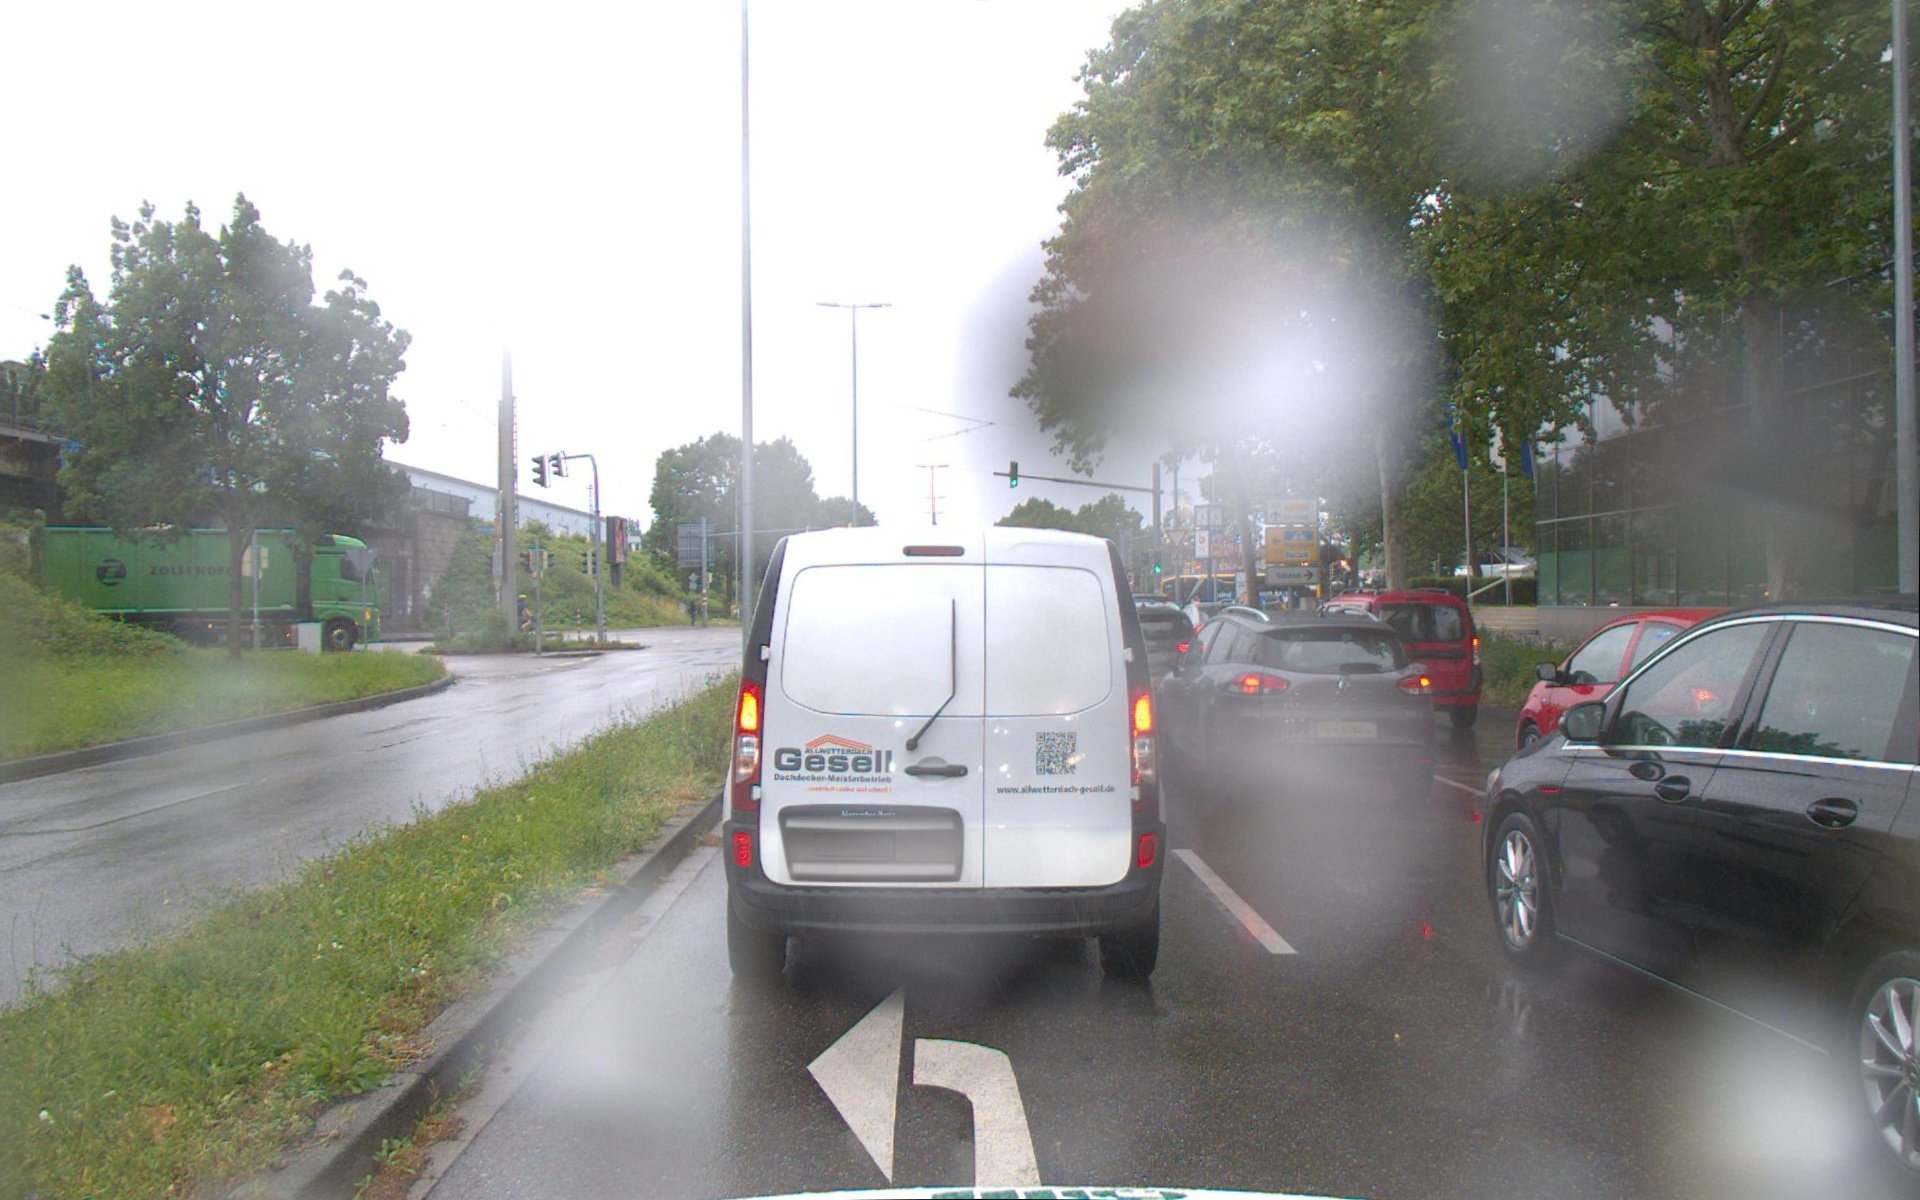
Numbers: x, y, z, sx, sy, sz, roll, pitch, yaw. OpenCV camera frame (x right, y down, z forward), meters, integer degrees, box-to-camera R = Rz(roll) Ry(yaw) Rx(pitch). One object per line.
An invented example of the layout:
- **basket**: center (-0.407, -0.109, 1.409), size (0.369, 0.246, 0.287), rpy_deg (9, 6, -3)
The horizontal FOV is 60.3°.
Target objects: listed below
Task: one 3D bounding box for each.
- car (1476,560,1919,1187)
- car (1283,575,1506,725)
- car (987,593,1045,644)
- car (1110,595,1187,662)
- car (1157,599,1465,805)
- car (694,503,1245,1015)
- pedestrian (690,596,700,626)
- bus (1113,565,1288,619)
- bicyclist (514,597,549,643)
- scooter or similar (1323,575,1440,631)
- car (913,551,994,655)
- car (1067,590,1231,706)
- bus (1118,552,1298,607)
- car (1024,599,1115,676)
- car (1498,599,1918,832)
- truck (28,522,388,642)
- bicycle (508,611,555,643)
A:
- **car**: center (3.246, 0.691, 5.451), size (1.712, 1.582, 4.089), rpy_deg (0, 0, -2)
- **car**: center (5.471, 0.600, 21.355), size (1.676, 1.724, 4.271), rpy_deg (1, -1, -1)
- **car**: center (1.920, 0.629, 57.362), size (1.816, 1.678, 3.842), rpy_deg (0, 0, -1)
- **car**: center (5.217, 0.762, 46.120), size (1.673, 1.758, 3.842), rpy_deg (0, 0, -1)
- **car**: center (2.753, 0.732, 13.794), size (1.649, 1.433, 3.842), rpy_deg (1, 0, -2)
- **car**: center (0.006, 0.544, 8.153), size (1.953, 1.807, 4.584), rpy_deg (0, 0, -1)
- **pedestrian**: center (-15.351, 0.635, 95.865), size (0.532, 1.746, 0.563), rpy_deg (1, -1, -5)
- **bus**: center (16.696, -0.571, 115.126), size (11.735, 3.483, 2.481), rpy_deg (-1, 1, -4)
- **bicyclist**: center (-14.318, 0.666, 55.274), size (1.028, 1.475, 0.723), rpy_deg (-1, 1, -26)
- **scooter or similar**: center (19.674, 0.124, 77.363), size (1.878, 2.489, 5.239), rpy_deg (0, 0, -41)
- **car**: center (-0.172, 0.048, 39.266), size (1.816, 2.336, 3.842), rpy_deg (0, 0, -1)
- **car**: center (2.559, 0.609, 23.231), size (1.816, 1.486, 3.842), rpy_deg (0, 0, -1)
- **bus**: center (16.602, -1.385, 111.154), size (11.727, 3.483, 2.315), rpy_deg (-1, 1, -1)
- **car**: center (2.504, 0.840, 38.585), size (1.816, 1.678, 3.842), rpy_deg (0, 0, -1)
- **car**: center (5.416, 0.749, 12.439), size (1.537, 1.488, 3.388), rpy_deg (0, 0, -2)
- **truck**: center (-23.110, -0.551, 51.309), size (9.956, 3.430, 2.316), rpy_deg (0, 0, -37)
- **bicycle**: center (-14.353, 0.891, 55.345), size (1.027, 0.968, 2.866), rpy_deg (-1, 1, -25)
